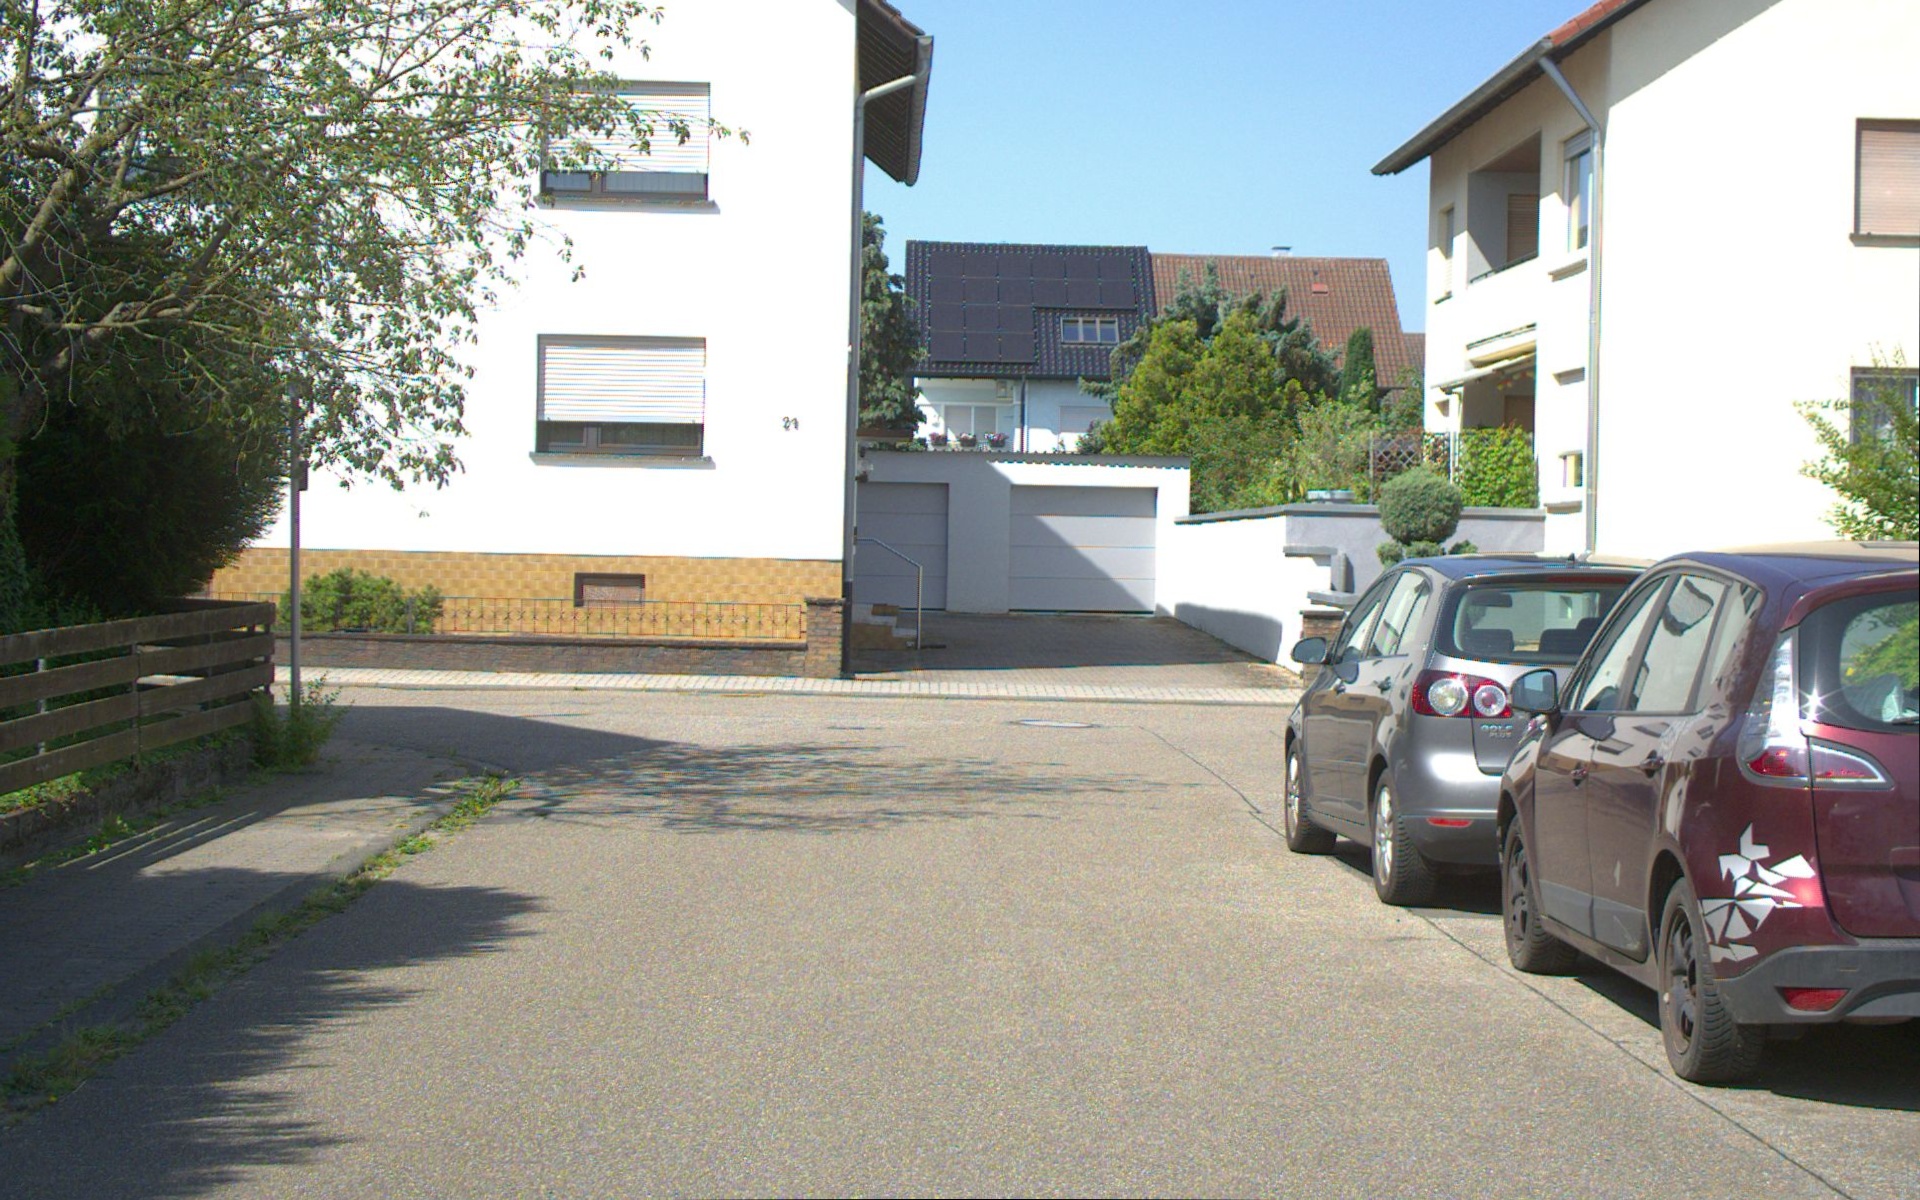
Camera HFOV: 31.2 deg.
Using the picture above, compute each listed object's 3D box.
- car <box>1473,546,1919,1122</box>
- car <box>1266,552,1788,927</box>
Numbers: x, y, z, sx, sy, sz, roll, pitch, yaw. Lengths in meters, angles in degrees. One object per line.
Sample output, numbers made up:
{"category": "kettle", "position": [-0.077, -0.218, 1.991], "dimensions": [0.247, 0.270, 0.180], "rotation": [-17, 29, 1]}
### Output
{"category": "car", "position": [2.894, 0.623, 11.575], "dimensions": [1.645, 1.576, 4.147], "rotation": [1, 1, -1]}
{"category": "car", "position": [2.576, 0.564, 16.541], "dimensions": [1.645, 1.540, 4.048], "rotation": [1, 1, -3]}
